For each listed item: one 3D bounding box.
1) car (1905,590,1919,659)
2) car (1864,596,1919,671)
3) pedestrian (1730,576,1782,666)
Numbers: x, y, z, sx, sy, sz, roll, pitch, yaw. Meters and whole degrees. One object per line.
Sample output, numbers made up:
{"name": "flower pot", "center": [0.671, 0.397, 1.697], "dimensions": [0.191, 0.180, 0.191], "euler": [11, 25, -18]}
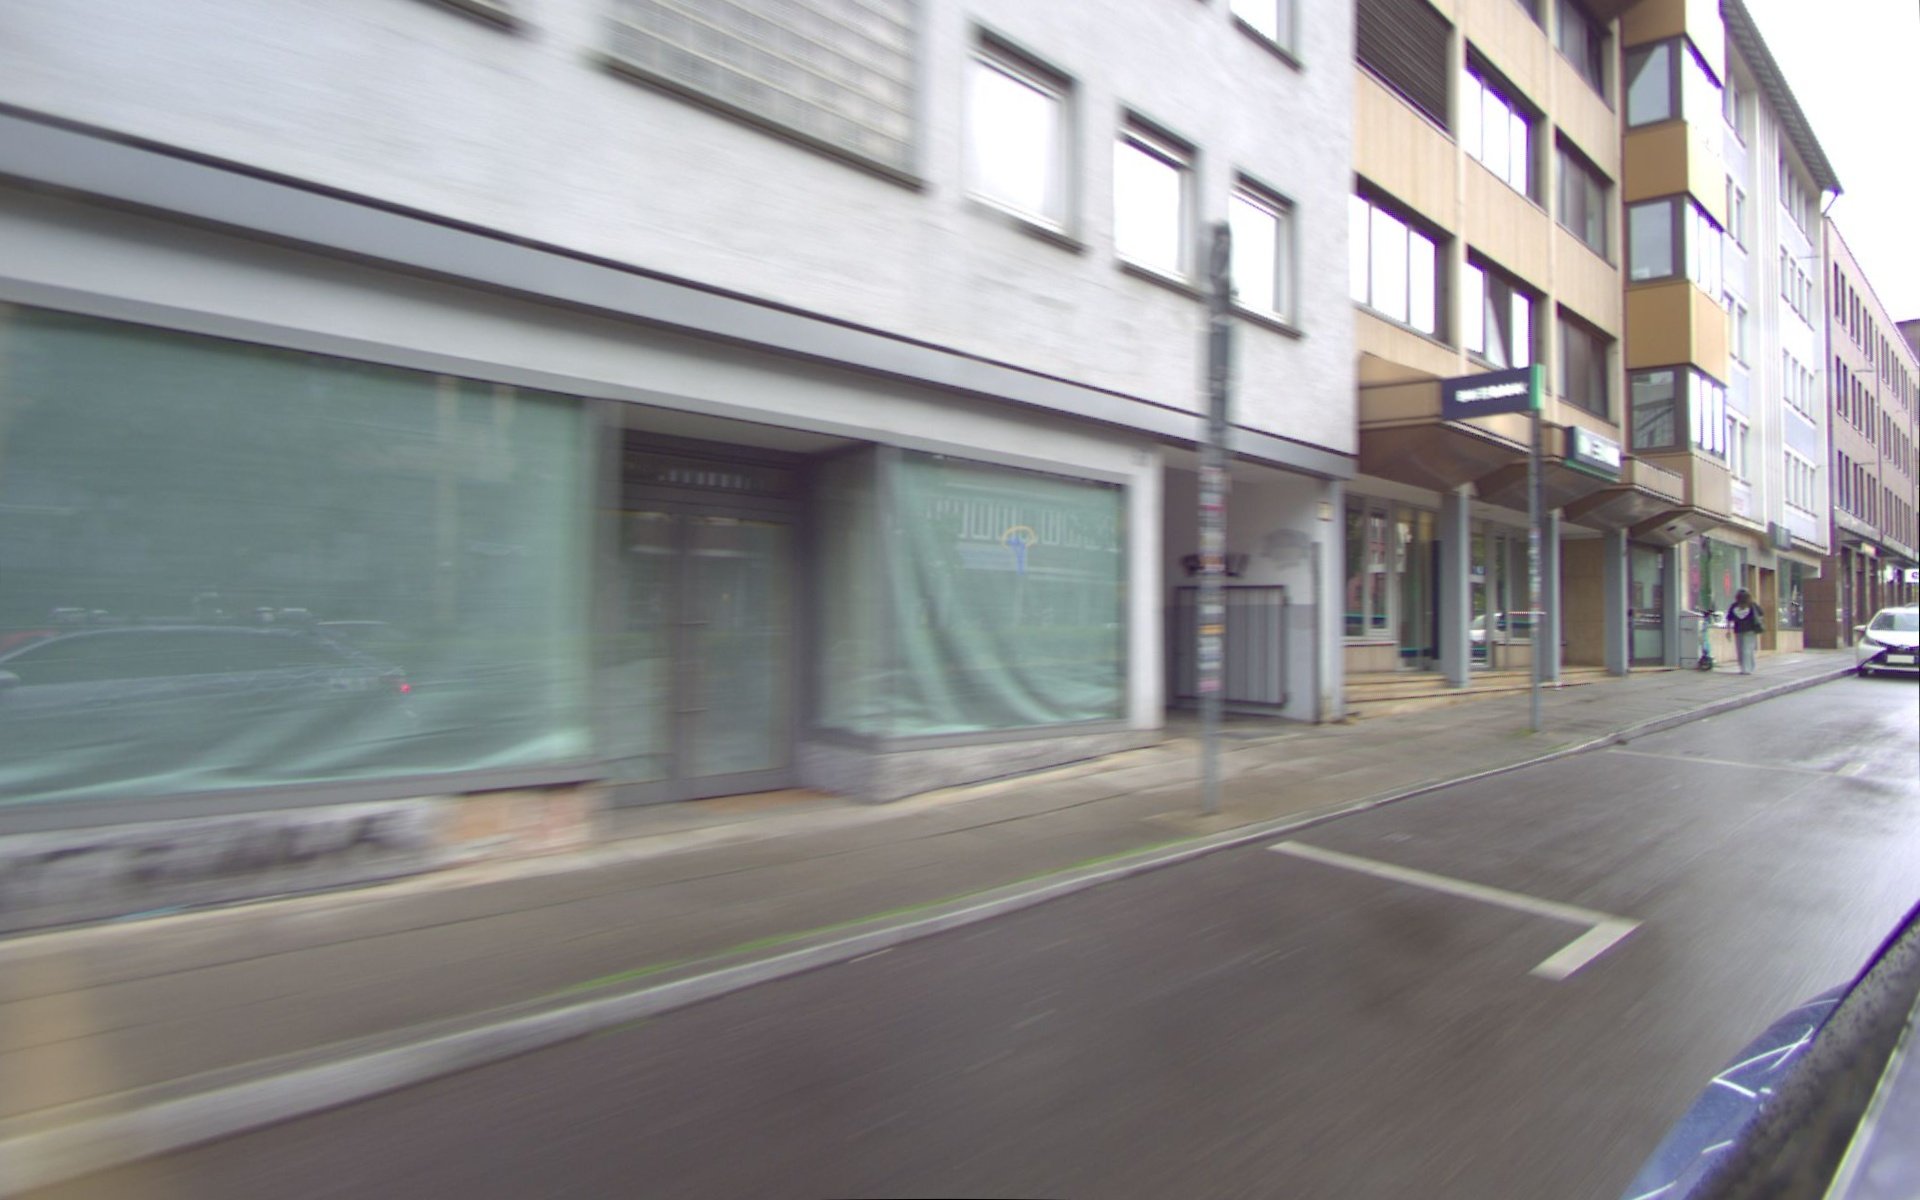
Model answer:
{"name": "car", "center": [24.328, 0.587, 24.559], "dimensions": [3.996, 1.613, 1.652], "euler": [0, 0, -41]}
{"name": "car", "center": [20.912, 0.679, 21.795], "dimensions": [3.996, 1.517, 1.652], "euler": [0, 0, -41]}
{"name": "pedestrian", "center": [15.595, 0.403, 19.827], "dimensions": [0.867, 1.722, 0.639], "euler": [0, -1, -41]}
